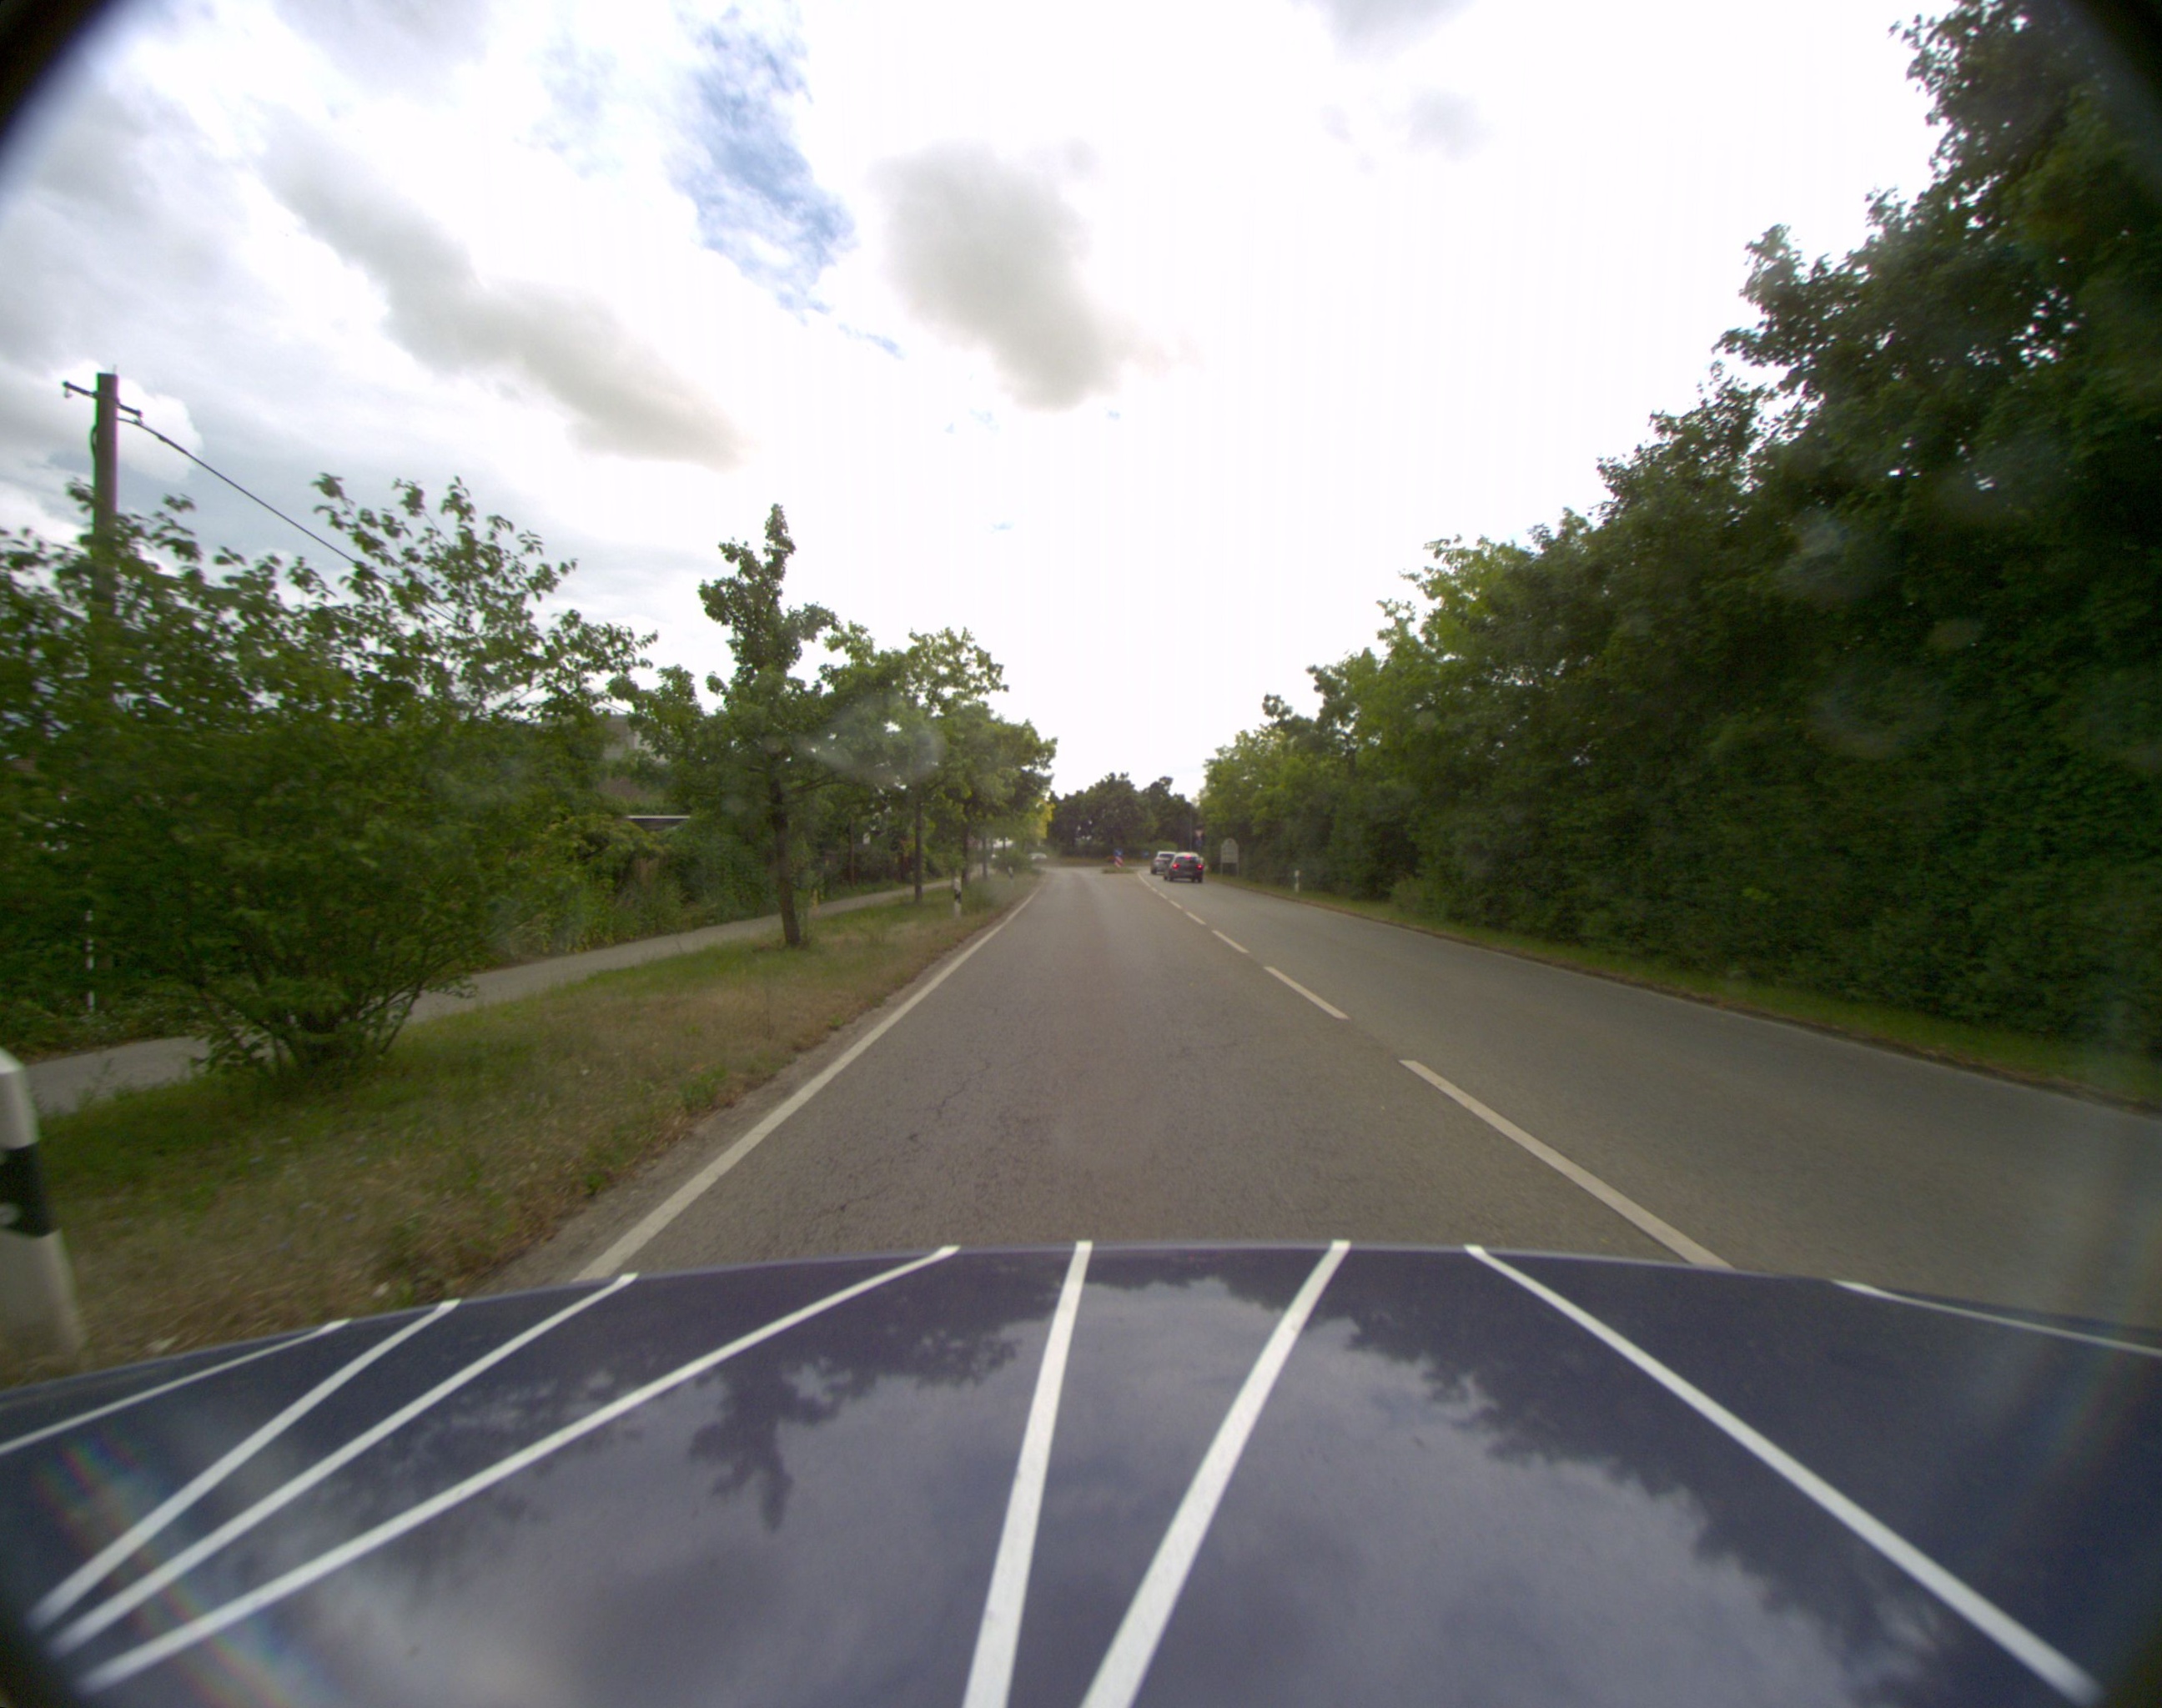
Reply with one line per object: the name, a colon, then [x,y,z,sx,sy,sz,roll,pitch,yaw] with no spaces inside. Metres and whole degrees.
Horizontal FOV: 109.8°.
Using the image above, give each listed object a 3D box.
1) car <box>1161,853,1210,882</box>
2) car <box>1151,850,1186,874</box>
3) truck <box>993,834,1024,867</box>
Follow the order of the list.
car: [5.612,0.706,41.355,1.999,1.411,4.476,1,1,-1]
car: [6.103,0.527,53.524,1.998,1.592,4.665,1,1,2]
truck: [-8.178,-0.406,86.653,2.614,3.428,7.506,-2,0,1]
